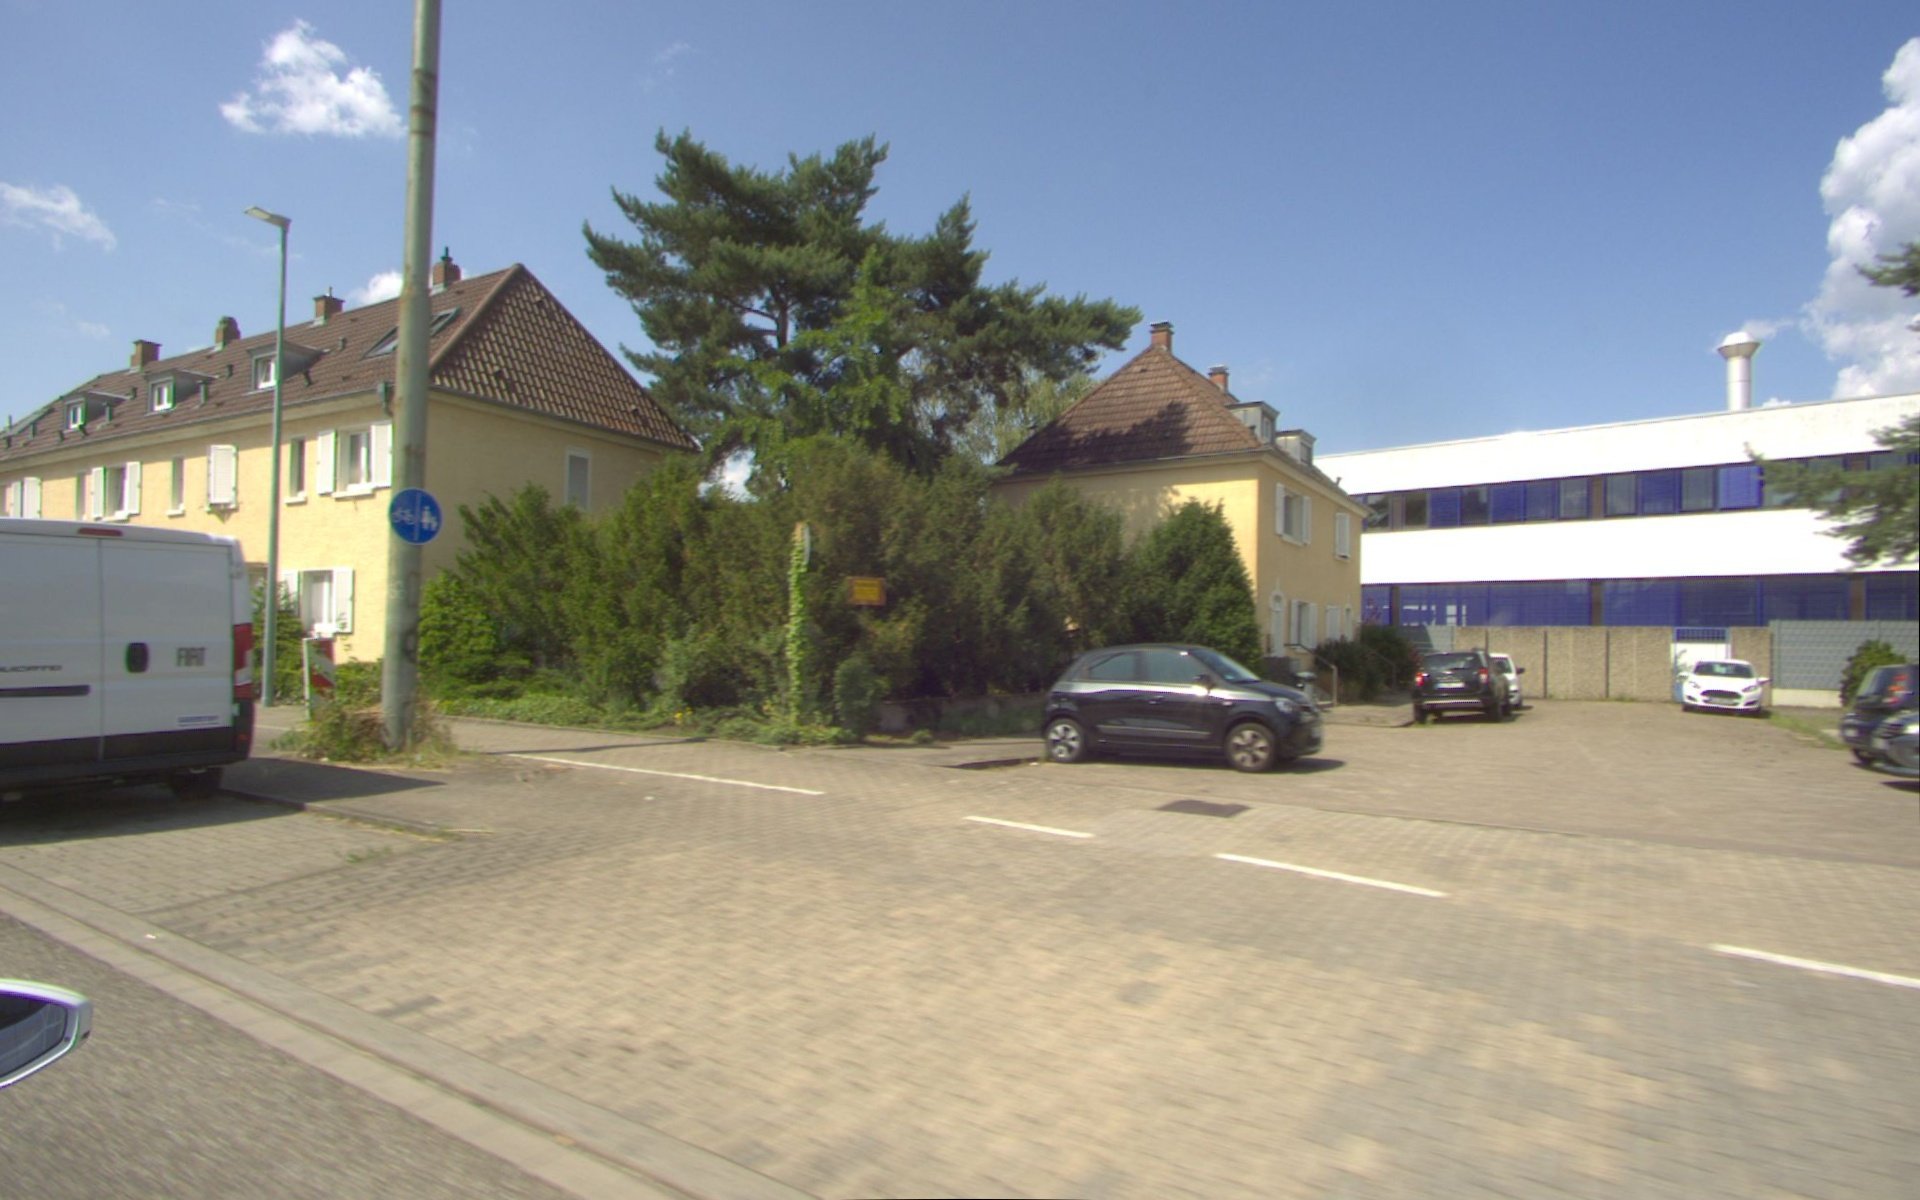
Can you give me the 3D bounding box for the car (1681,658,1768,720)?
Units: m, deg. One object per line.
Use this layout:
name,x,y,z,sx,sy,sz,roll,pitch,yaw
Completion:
car,20.829,2.369,27.381,1.711,1.406,4.271,3,-1,36

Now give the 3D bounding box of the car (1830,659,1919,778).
car,13.550,1.533,12.430,3.873,1.430,1.538,1,-1,29

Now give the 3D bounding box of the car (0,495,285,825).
car,-8.744,0.461,8.930,6.279,2.210,2.272,-1,-2,33

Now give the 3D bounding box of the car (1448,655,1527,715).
car,14.822,2.345,28.052,1.731,1.500,4.107,-5,-5,29

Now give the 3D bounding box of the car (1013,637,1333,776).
car,2.720,1.294,12.993,3.754,1.566,1.626,-2,-3,31

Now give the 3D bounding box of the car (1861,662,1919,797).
car,12.157,1.439,10.426,3.875,1.415,1.559,1,-2,31

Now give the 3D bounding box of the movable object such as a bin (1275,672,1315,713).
movable object such as a bin,8.071,2.222,24.130,0.731,0.925,0.698,-1,-2,36

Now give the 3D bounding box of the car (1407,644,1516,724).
car,11.896,1.959,23.607,1.711,1.708,4.103,-5,-5,34
